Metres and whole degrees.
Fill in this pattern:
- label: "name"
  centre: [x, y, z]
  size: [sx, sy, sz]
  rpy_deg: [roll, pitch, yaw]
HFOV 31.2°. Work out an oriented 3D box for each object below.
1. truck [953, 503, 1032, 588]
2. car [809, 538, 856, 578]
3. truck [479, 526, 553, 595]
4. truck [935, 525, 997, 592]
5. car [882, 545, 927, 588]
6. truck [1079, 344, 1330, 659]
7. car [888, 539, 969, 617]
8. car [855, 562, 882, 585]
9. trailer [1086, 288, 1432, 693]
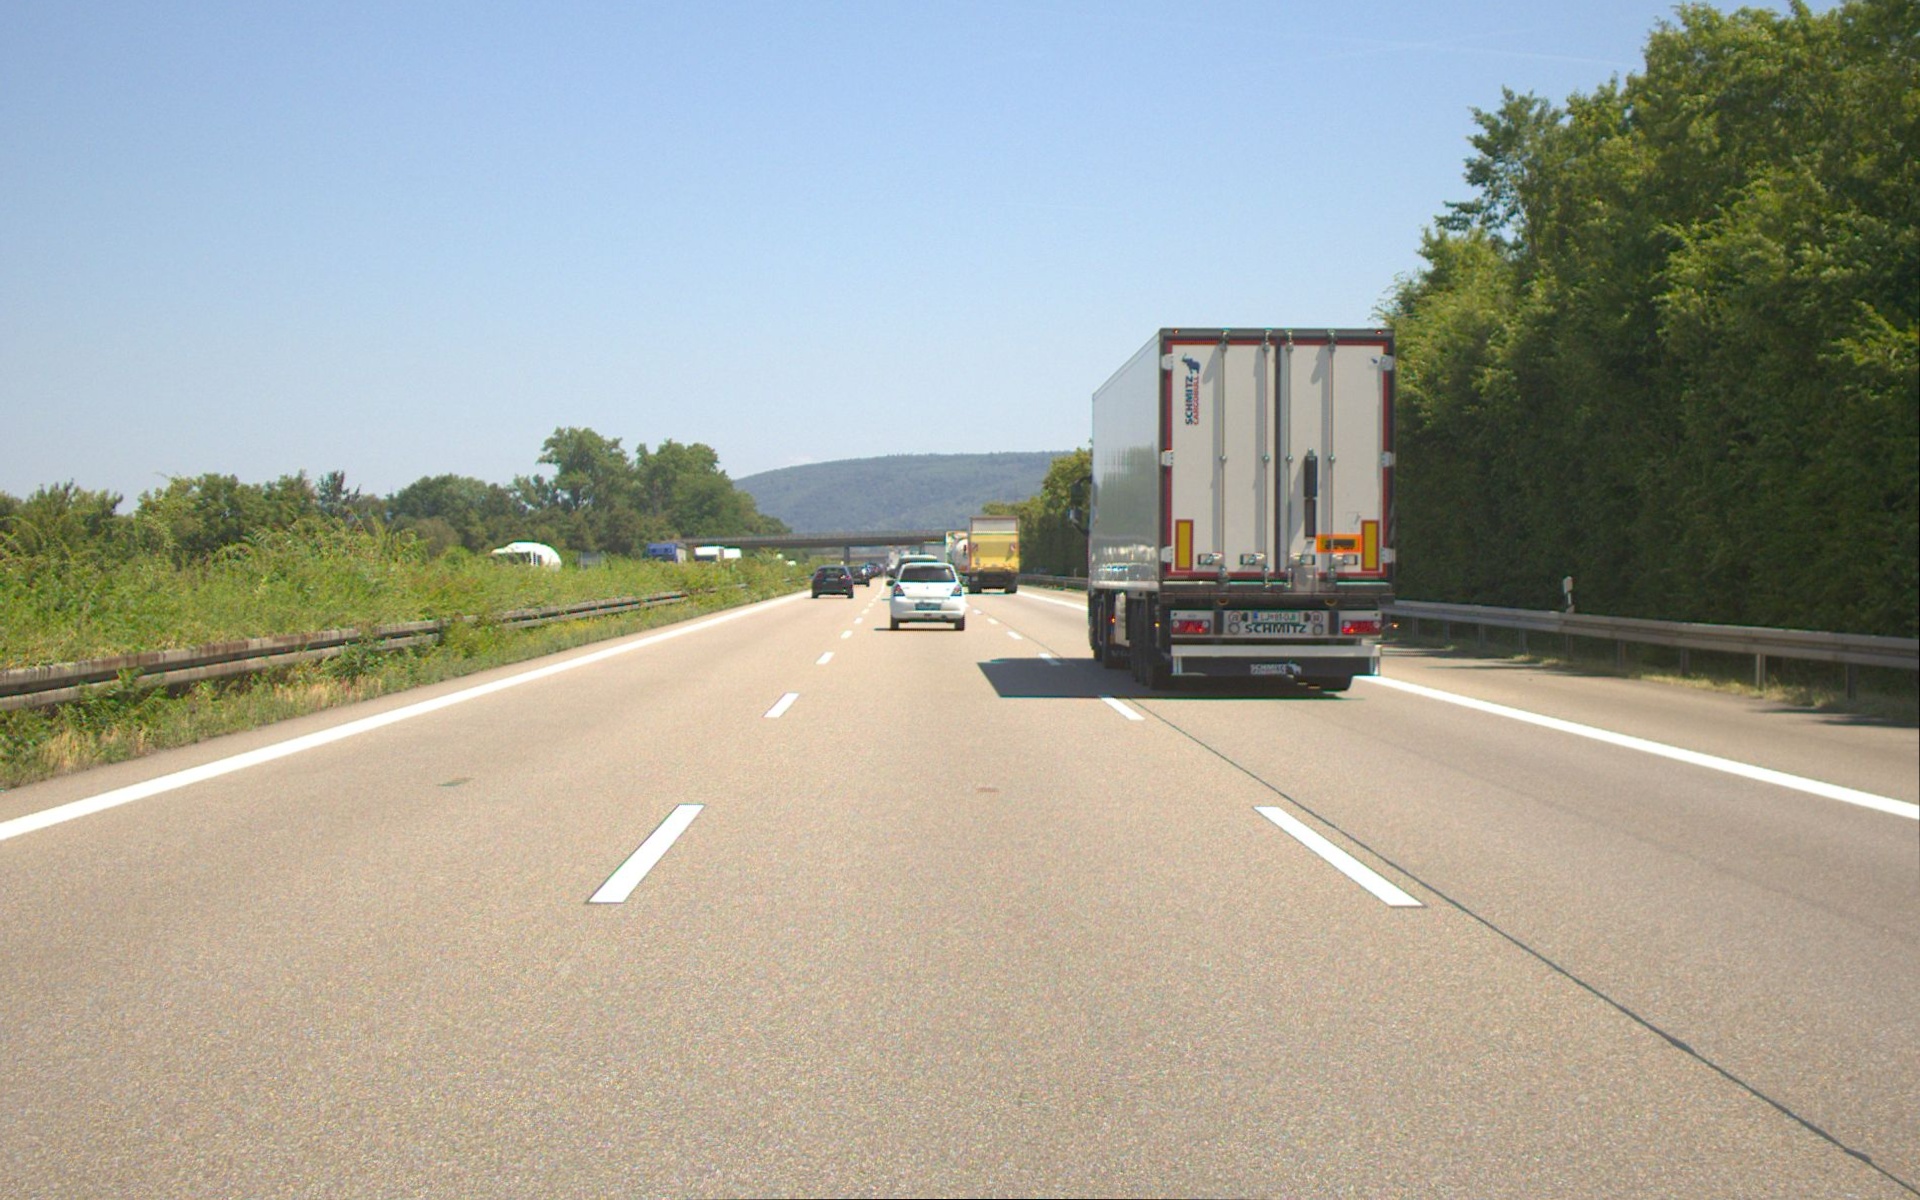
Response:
- label: "truck"
  centre: [1.660, -2.912, 183.570]
  size: [3.871, 4.330, 13.861]
  rpy_deg: [1, 1, 0]
- label: "car"
  centre: [-5.532, -1.827, 149.621]
  size: [1.993, 1.706, 4.000]
  rpy_deg: [1, 1, -1]
- label: "truck"
  centre: [-23.164, -2.080, 179.559]
  size: [3.227, 3.504, 5.435]
  rpy_deg: [-1, 1, -1]
- label: "truck"
  centre: [0.373, -2.927, 243.095]
  size: [4.271, 4.636, 13.861]
  rpy_deg: [0, 1, 0]
- label: "car"
  centre: [-2.295, -1.395, 142.082]
  size: [1.786, 1.706, 4.000]
  rpy_deg: [1, 1, -1]
- label: "truck"
  centre: [3.515, -1.420, 51.158]
  size: [3.218, 4.330, 6.591]
  rpy_deg: [1, 1, 0]
- label: "car"
  centre: [-0.735, -0.510, 77.599]
  size: [1.732, 1.678, 4.000]
  rpy_deg: [-1, 1, -1]
- label: "car"
  centre: [-6.233, -1.820, 234.373]
  size: [1.795, 1.545, 4.000]
  rpy_deg: [0, 1, 0]
- label: "trailer"
  centre: [3.489, -1.301, 44.056]
  size: [3.218, 4.330, 13.629]
  rpy_deg: [1, 1, 0]
